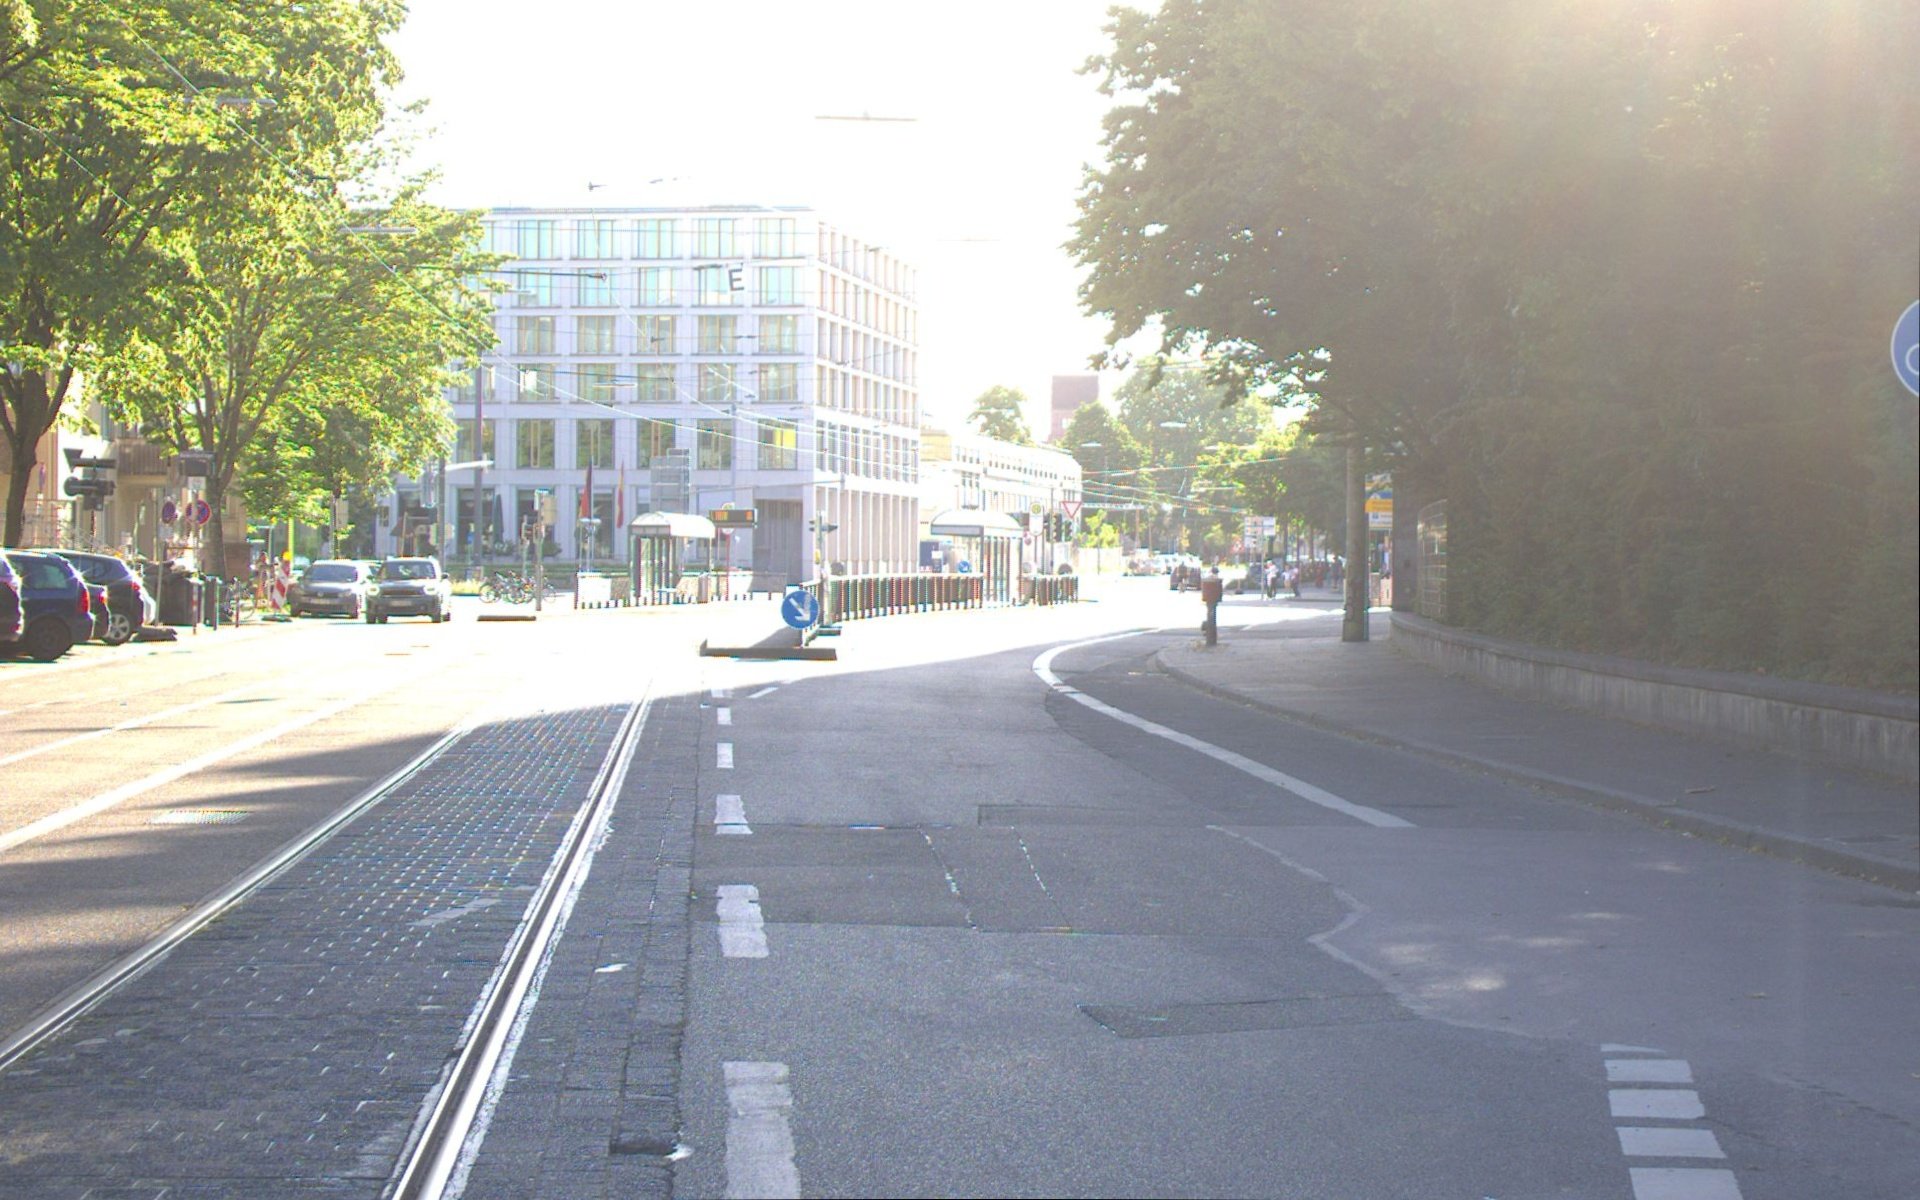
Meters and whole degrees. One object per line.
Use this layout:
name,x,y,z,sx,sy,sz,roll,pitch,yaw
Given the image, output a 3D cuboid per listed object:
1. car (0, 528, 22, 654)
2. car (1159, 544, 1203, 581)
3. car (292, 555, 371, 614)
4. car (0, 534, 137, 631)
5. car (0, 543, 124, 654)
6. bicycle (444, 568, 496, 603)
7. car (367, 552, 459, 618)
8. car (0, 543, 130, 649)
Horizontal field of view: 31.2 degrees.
car,-14.378,-0.129,46.069,3.271,1.692,1.470,0,1,-26
car,12.336,-2.084,191.550,1.994,2.007,3.998,0,1,10
car,-16.356,-0.428,89.613,1.572,1.485,4.001,0,1,-4
car,-15.417,-0.298,56.848,3.271,1.580,1.470,0,1,-26
car,-13.884,-0.034,49.694,3.271,1.580,1.470,0,1,-26
bicycle,-17.585,-0.517,123.421,1.793,1.219,0.599,0,1,-12
car,-13.160,-0.380,82.876,1.558,1.525,4.000,0,1,0
car,-14.347,-0.068,51.946,3.271,1.580,1.470,0,1,-26
